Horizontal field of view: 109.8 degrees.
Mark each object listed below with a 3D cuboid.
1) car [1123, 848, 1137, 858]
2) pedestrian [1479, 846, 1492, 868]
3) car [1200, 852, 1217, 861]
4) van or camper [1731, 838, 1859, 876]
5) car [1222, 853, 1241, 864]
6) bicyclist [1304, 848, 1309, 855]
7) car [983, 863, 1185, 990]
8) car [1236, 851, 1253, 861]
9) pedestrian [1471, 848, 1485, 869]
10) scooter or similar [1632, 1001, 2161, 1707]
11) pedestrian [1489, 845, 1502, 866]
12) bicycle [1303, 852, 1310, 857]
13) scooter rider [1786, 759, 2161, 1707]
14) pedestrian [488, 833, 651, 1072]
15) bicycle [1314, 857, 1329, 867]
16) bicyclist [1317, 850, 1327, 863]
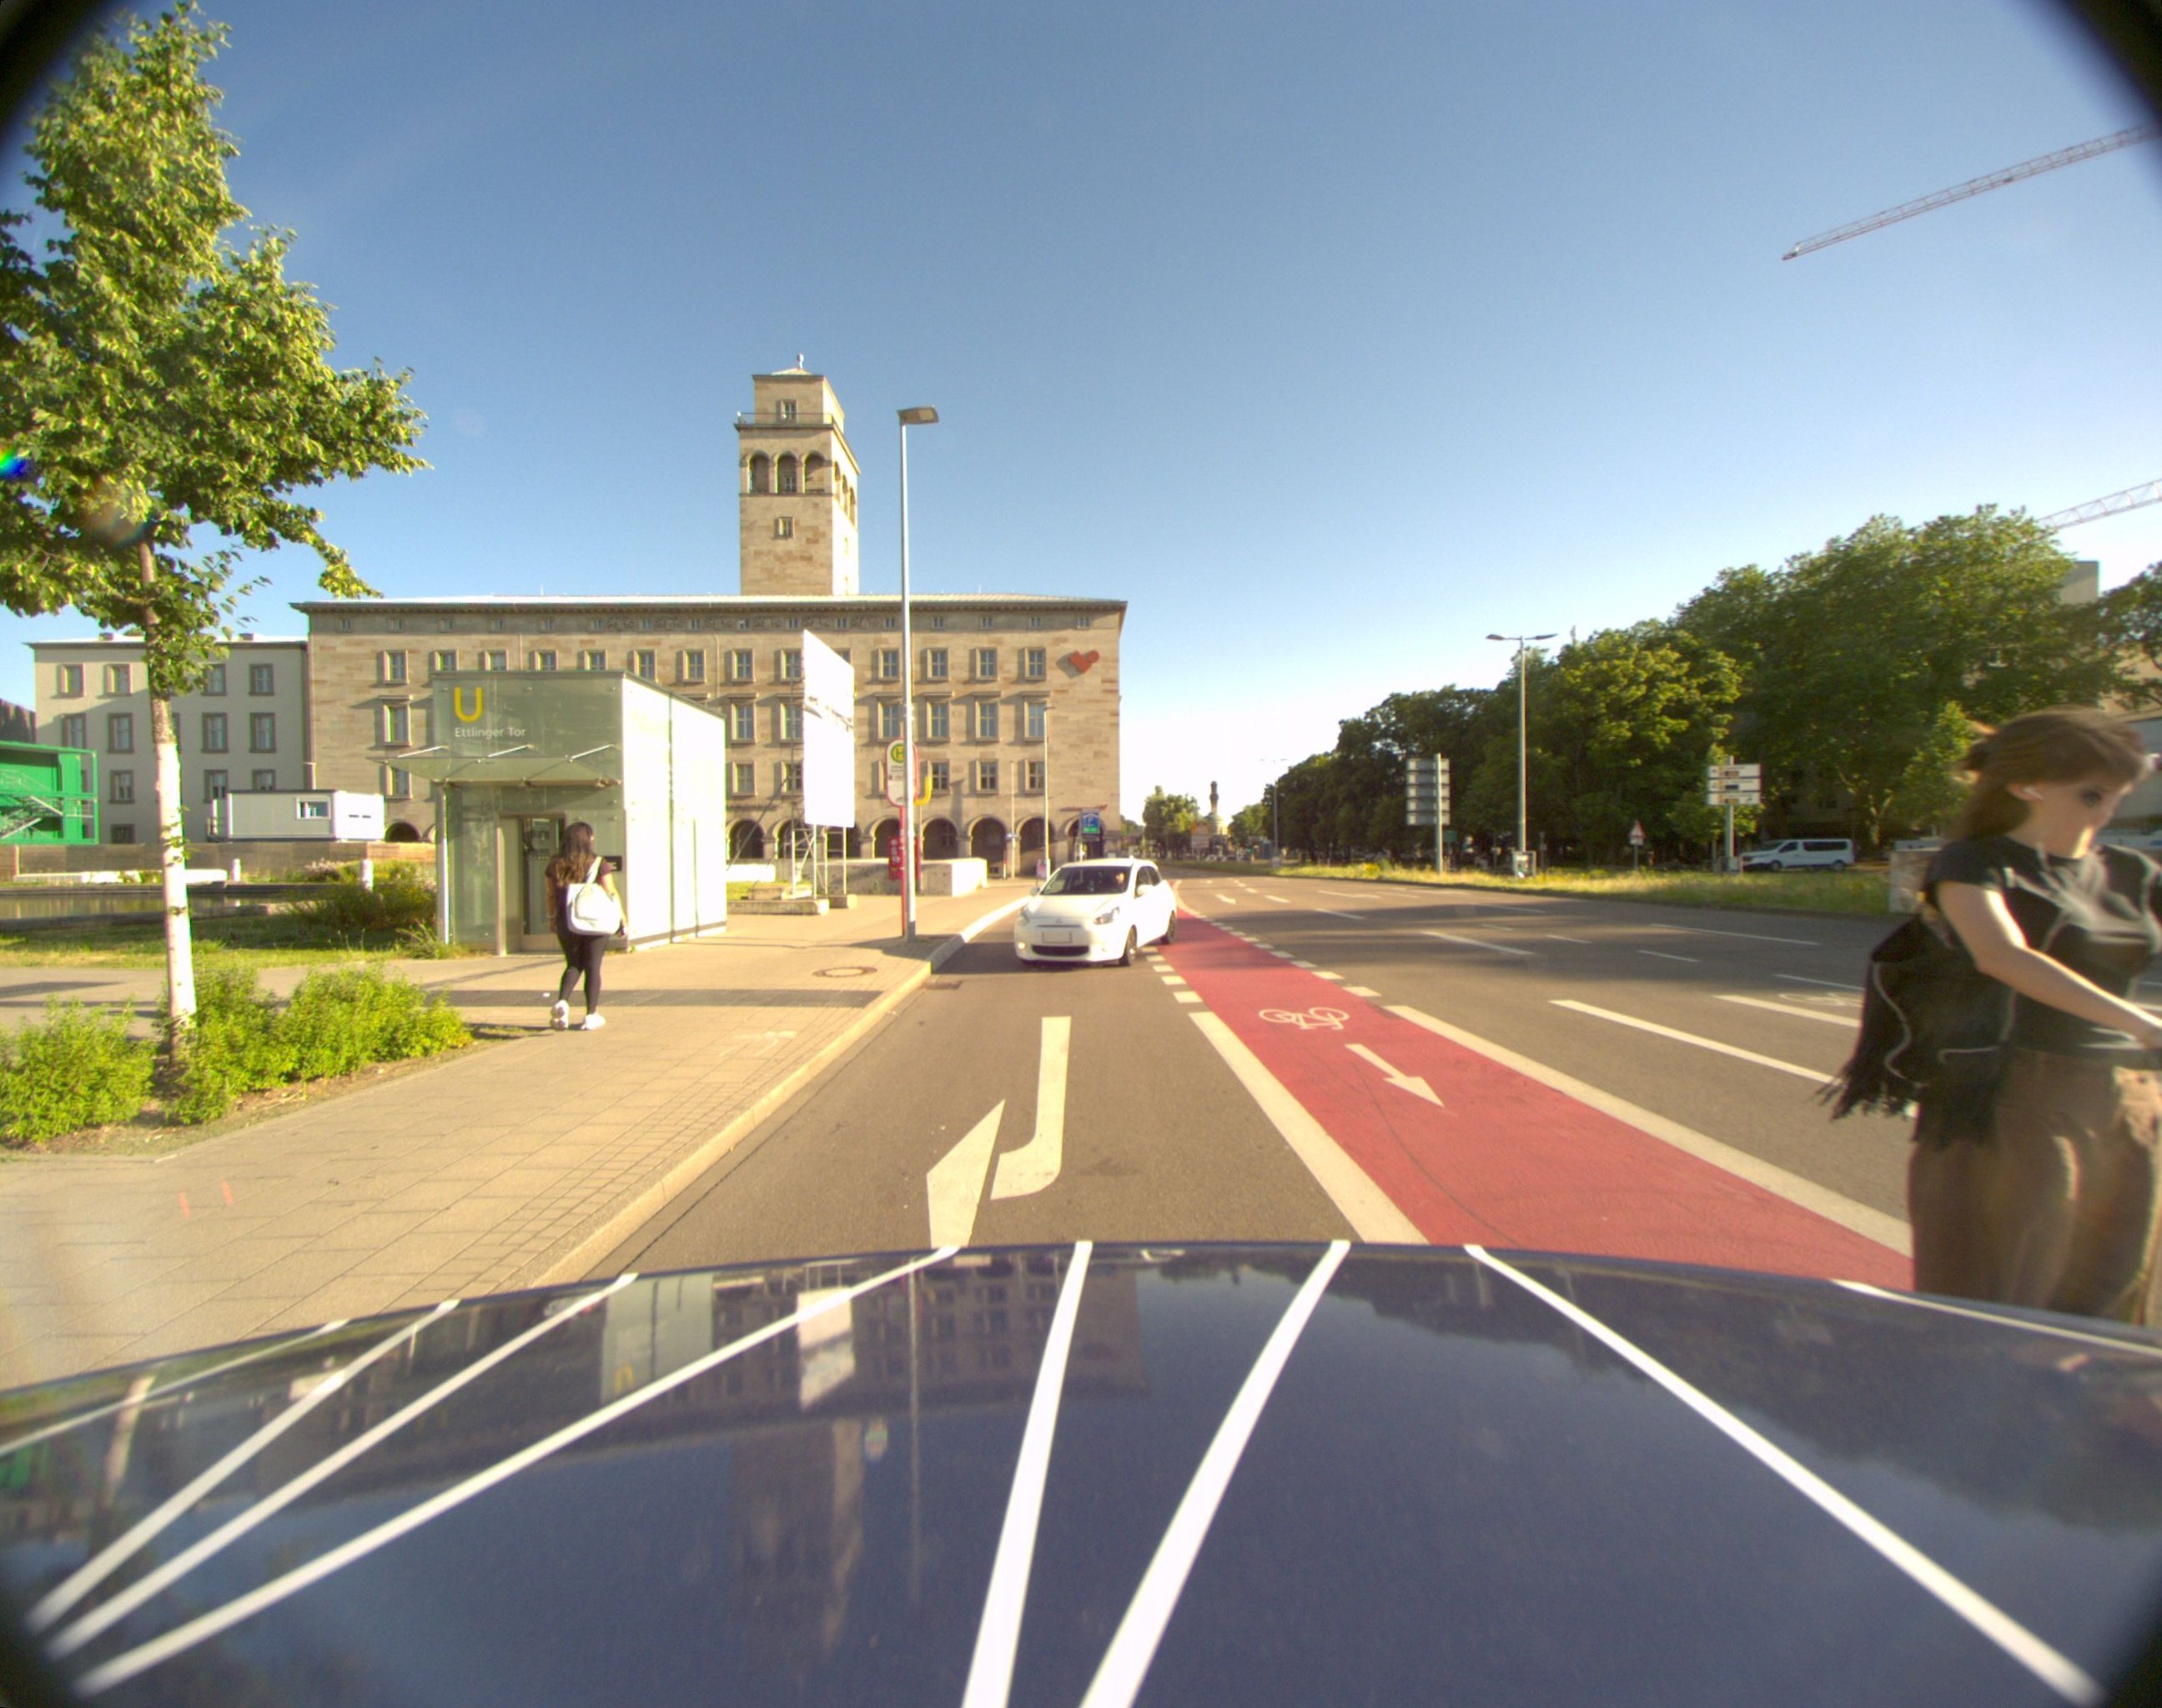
[{"bbox_3d":[8.190,-0.105,127.531,1.937,1.634,4.616,-1,0,0],"label":"car"},{"bbox_3d":[32.950,0.239,61.964,0.665,1.715,0.762,-1,1,1],"label":"pedestrian"},{"bbox_3d":[20.383,0.348,121.702,1.873,1.390,3.999,-1,0,-2],"label":"car"},{"bbox_3d":[42.300,0.174,45.086,5.649,2.002,1.948,-2,1,2],"label":"van or camper"},{"bbox_3d":[21.314,0.619,107.705,1.872,1.390,3.999,-1,0,-1],"label":"car"},{"bbox_3d":[38.897,-0.415,131.050,0.609,1.274,0.716,0,1,32],"label":"bicyclist"},{"bbox_3d":[0.246,0.925,11.322,1.676,1.440,3.894,-2,0,21],"label":"car"},{"bbox_3d":[26.036,0.353,120.941,1.998,1.499,4.000,-1,0,2],"label":"car"},{"bbox_3d":[32.213,0.382,61.683,0.707,1.715,0.762,-1,1,1],"label":"pedestrian"},{"bbox_3d":[1.906,1.018,1.296,0.730,1.195,1.664,-1,0,1],"label":"scooter or similar"},{"bbox_3d":[33.793,0.096,61.944,0.707,1.715,0.762,-1,1,1],"label":"pedestrian"},{"bbox_3d":[38.902,0.134,131.061,0.609,0.838,1.749,0,1,32],"label":"bicycle"},{"bbox_3d":[1.916,0.738,1.259,0.730,1.764,0.811,-1,1,1],"label":"scooter rider"},{"bbox_3d":[-4.187,0.731,6.332,0.944,1.776,1.070,-1,1,-26],"label":"pedestrian"},{"bbox_3d":[24.362,0.800,76.875,0.639,1.016,2.242,-1,0,-4],"label":"bicycle"},{"bbox_3d":[24.358,0.229,76.824,0.639,1.275,0.885,-1,1,-4],"label":"bicyclist"}]
